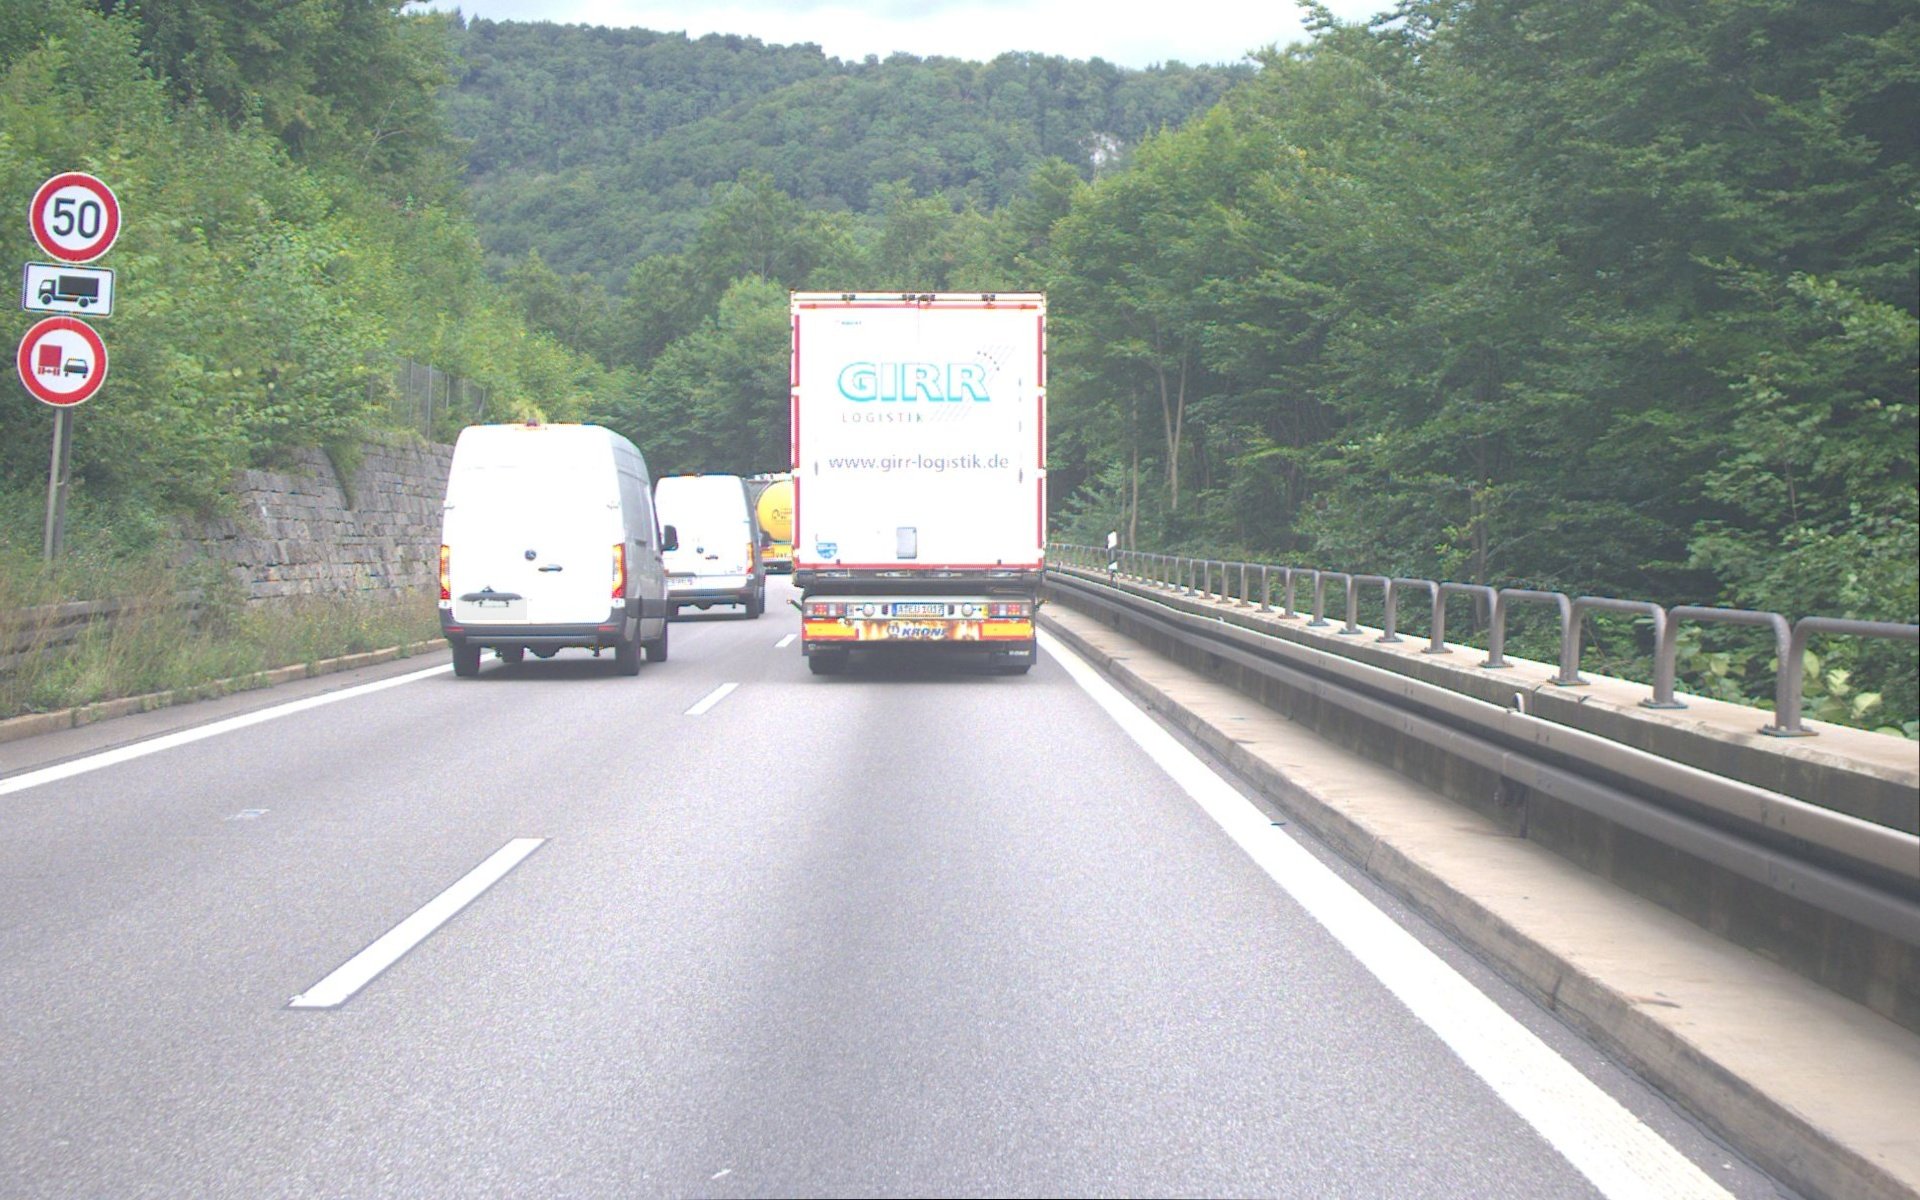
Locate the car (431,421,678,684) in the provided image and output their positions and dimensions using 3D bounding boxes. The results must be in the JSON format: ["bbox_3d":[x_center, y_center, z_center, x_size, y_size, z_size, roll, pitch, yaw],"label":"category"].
[{"bbox_3d":[-4.421,-0.558,38.533,1.989,2.663,6.937,0,1,0],"label":"car"}]

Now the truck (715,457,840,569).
[{"bbox_3d":[-7.117,-3.258,131.631,3.056,3.973,13.702,1,1,-10],"label":"truck"}]

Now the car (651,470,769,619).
[{"bbox_3d":[-4.677,-1.062,65.032,1.939,2.663,5.992,0,1,-1],"label":"car"}]

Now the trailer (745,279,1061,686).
[{"bbox_3d":[-0.668,-1.414,40.146,3.057,3.972,12.138,1,2,-1],"label":"trailer"}]
